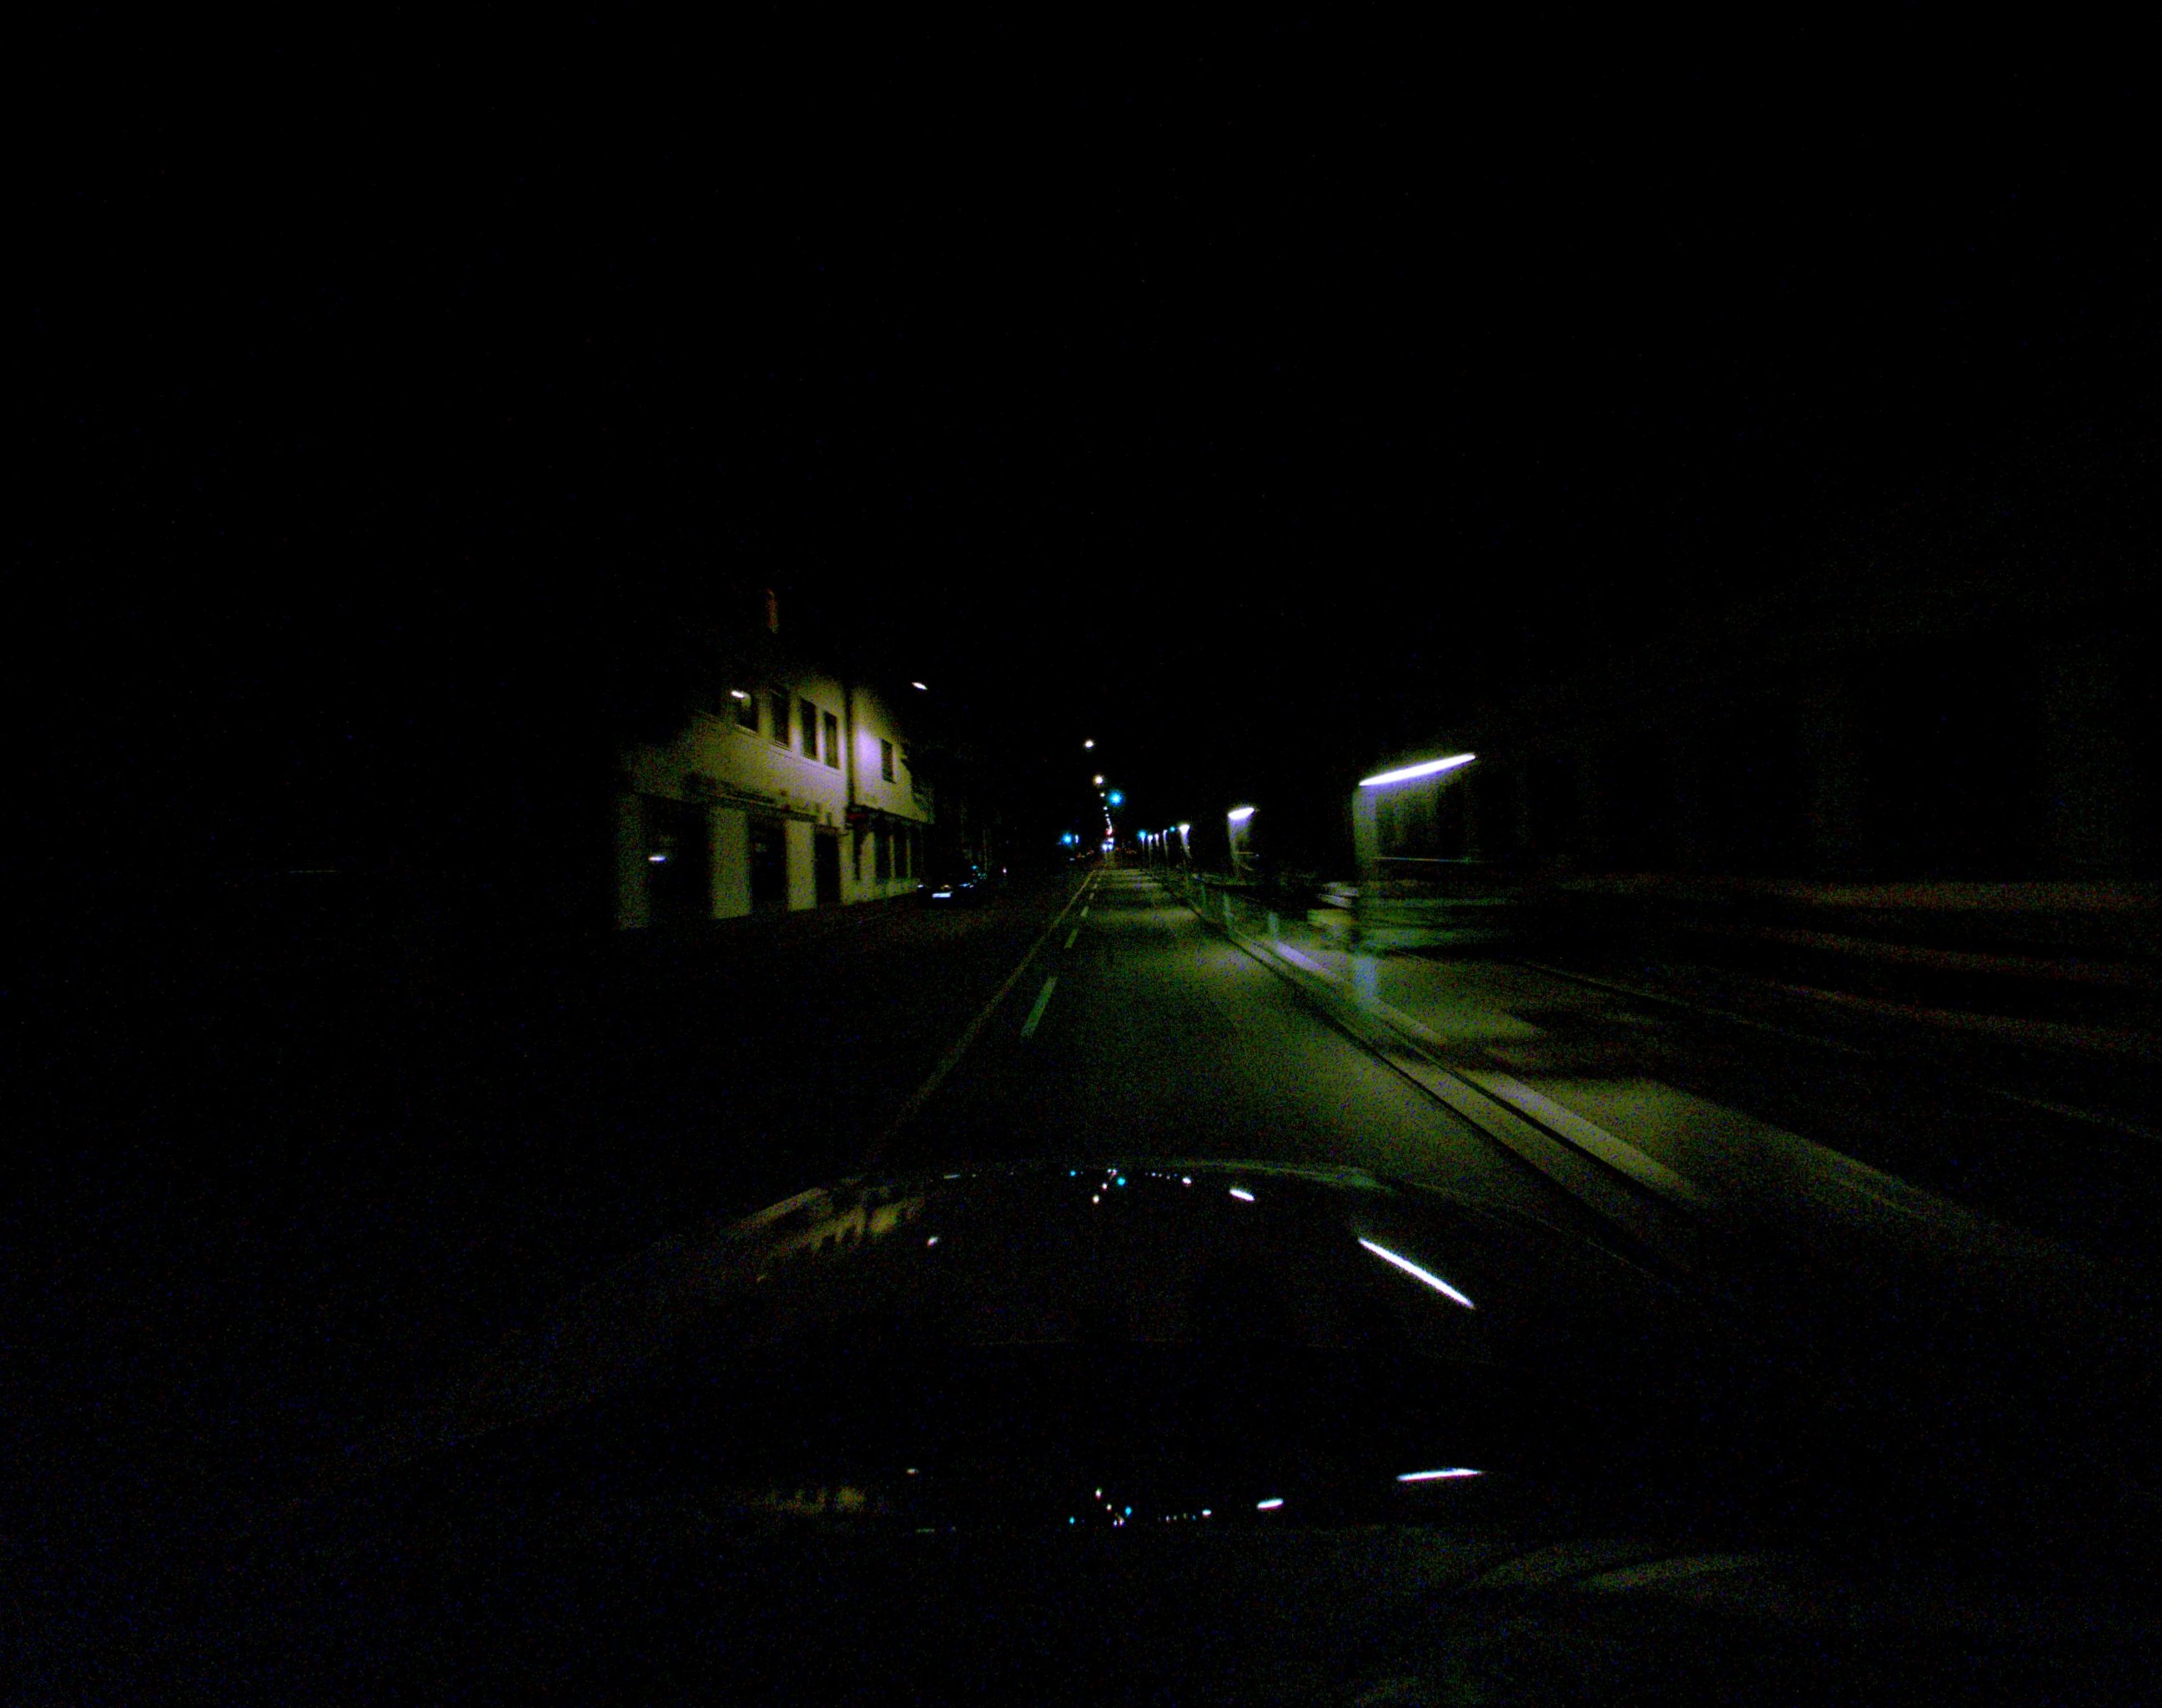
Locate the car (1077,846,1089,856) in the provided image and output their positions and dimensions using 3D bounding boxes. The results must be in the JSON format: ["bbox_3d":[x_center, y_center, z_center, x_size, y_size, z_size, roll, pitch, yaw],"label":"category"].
[{"bbox_3d":[0.320,-0.454,136.001,1.866,1.544,4.207,-3,0,2],"label":"car"}]

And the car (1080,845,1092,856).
[{"bbox_3d":[0.801,-0.657,142.066,1.866,1.814,4.207,-3,1,2],"label":"car"}]

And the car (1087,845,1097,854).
[{"bbox_3d":[2.451,-1.027,178.310,1.865,1.814,4.208,-3,0,3],"label":"car"}]

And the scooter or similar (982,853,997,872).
[{"bbox_3d":[-5.918,0.587,52.630,0.526,1.165,2.508,-4,-2,2],"label":"scooter or similar"}]

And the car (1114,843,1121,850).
[{"bbox_3d":[10.075,-1.964,225.863,1.865,1.814,4.208,-3,0,3],"label":"car"}]

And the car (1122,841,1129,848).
[{"bbox_3d":[12.889,-2.856,236.333,1.866,1.907,4.207,-3,0,2],"label":"car"}]

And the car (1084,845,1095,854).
[{"bbox_3d":[1.651,-0.879,160.360,1.866,1.814,4.207,-3,0,2],"label":"car"}]

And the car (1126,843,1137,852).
[{"bbox_3d":[9.287,-1.239,148.840,1.866,1.544,4.207,-3,0,2],"label":"car"}]

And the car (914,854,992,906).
[{"bbox_3d":[-4.097,0.781,26.634,1.664,1.443,4.207,-3,0,2],"label":"car"}]

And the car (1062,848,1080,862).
[{"bbox_3d":[-1.175,0.099,98.646,1.866,1.544,4.207,-3,0,2],"label":"car"}]

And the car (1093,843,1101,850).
[{"bbox_3d":[4.496,-2.010,226.524,2.068,1.814,4.208,-3,0,3],"label":"car"}]
